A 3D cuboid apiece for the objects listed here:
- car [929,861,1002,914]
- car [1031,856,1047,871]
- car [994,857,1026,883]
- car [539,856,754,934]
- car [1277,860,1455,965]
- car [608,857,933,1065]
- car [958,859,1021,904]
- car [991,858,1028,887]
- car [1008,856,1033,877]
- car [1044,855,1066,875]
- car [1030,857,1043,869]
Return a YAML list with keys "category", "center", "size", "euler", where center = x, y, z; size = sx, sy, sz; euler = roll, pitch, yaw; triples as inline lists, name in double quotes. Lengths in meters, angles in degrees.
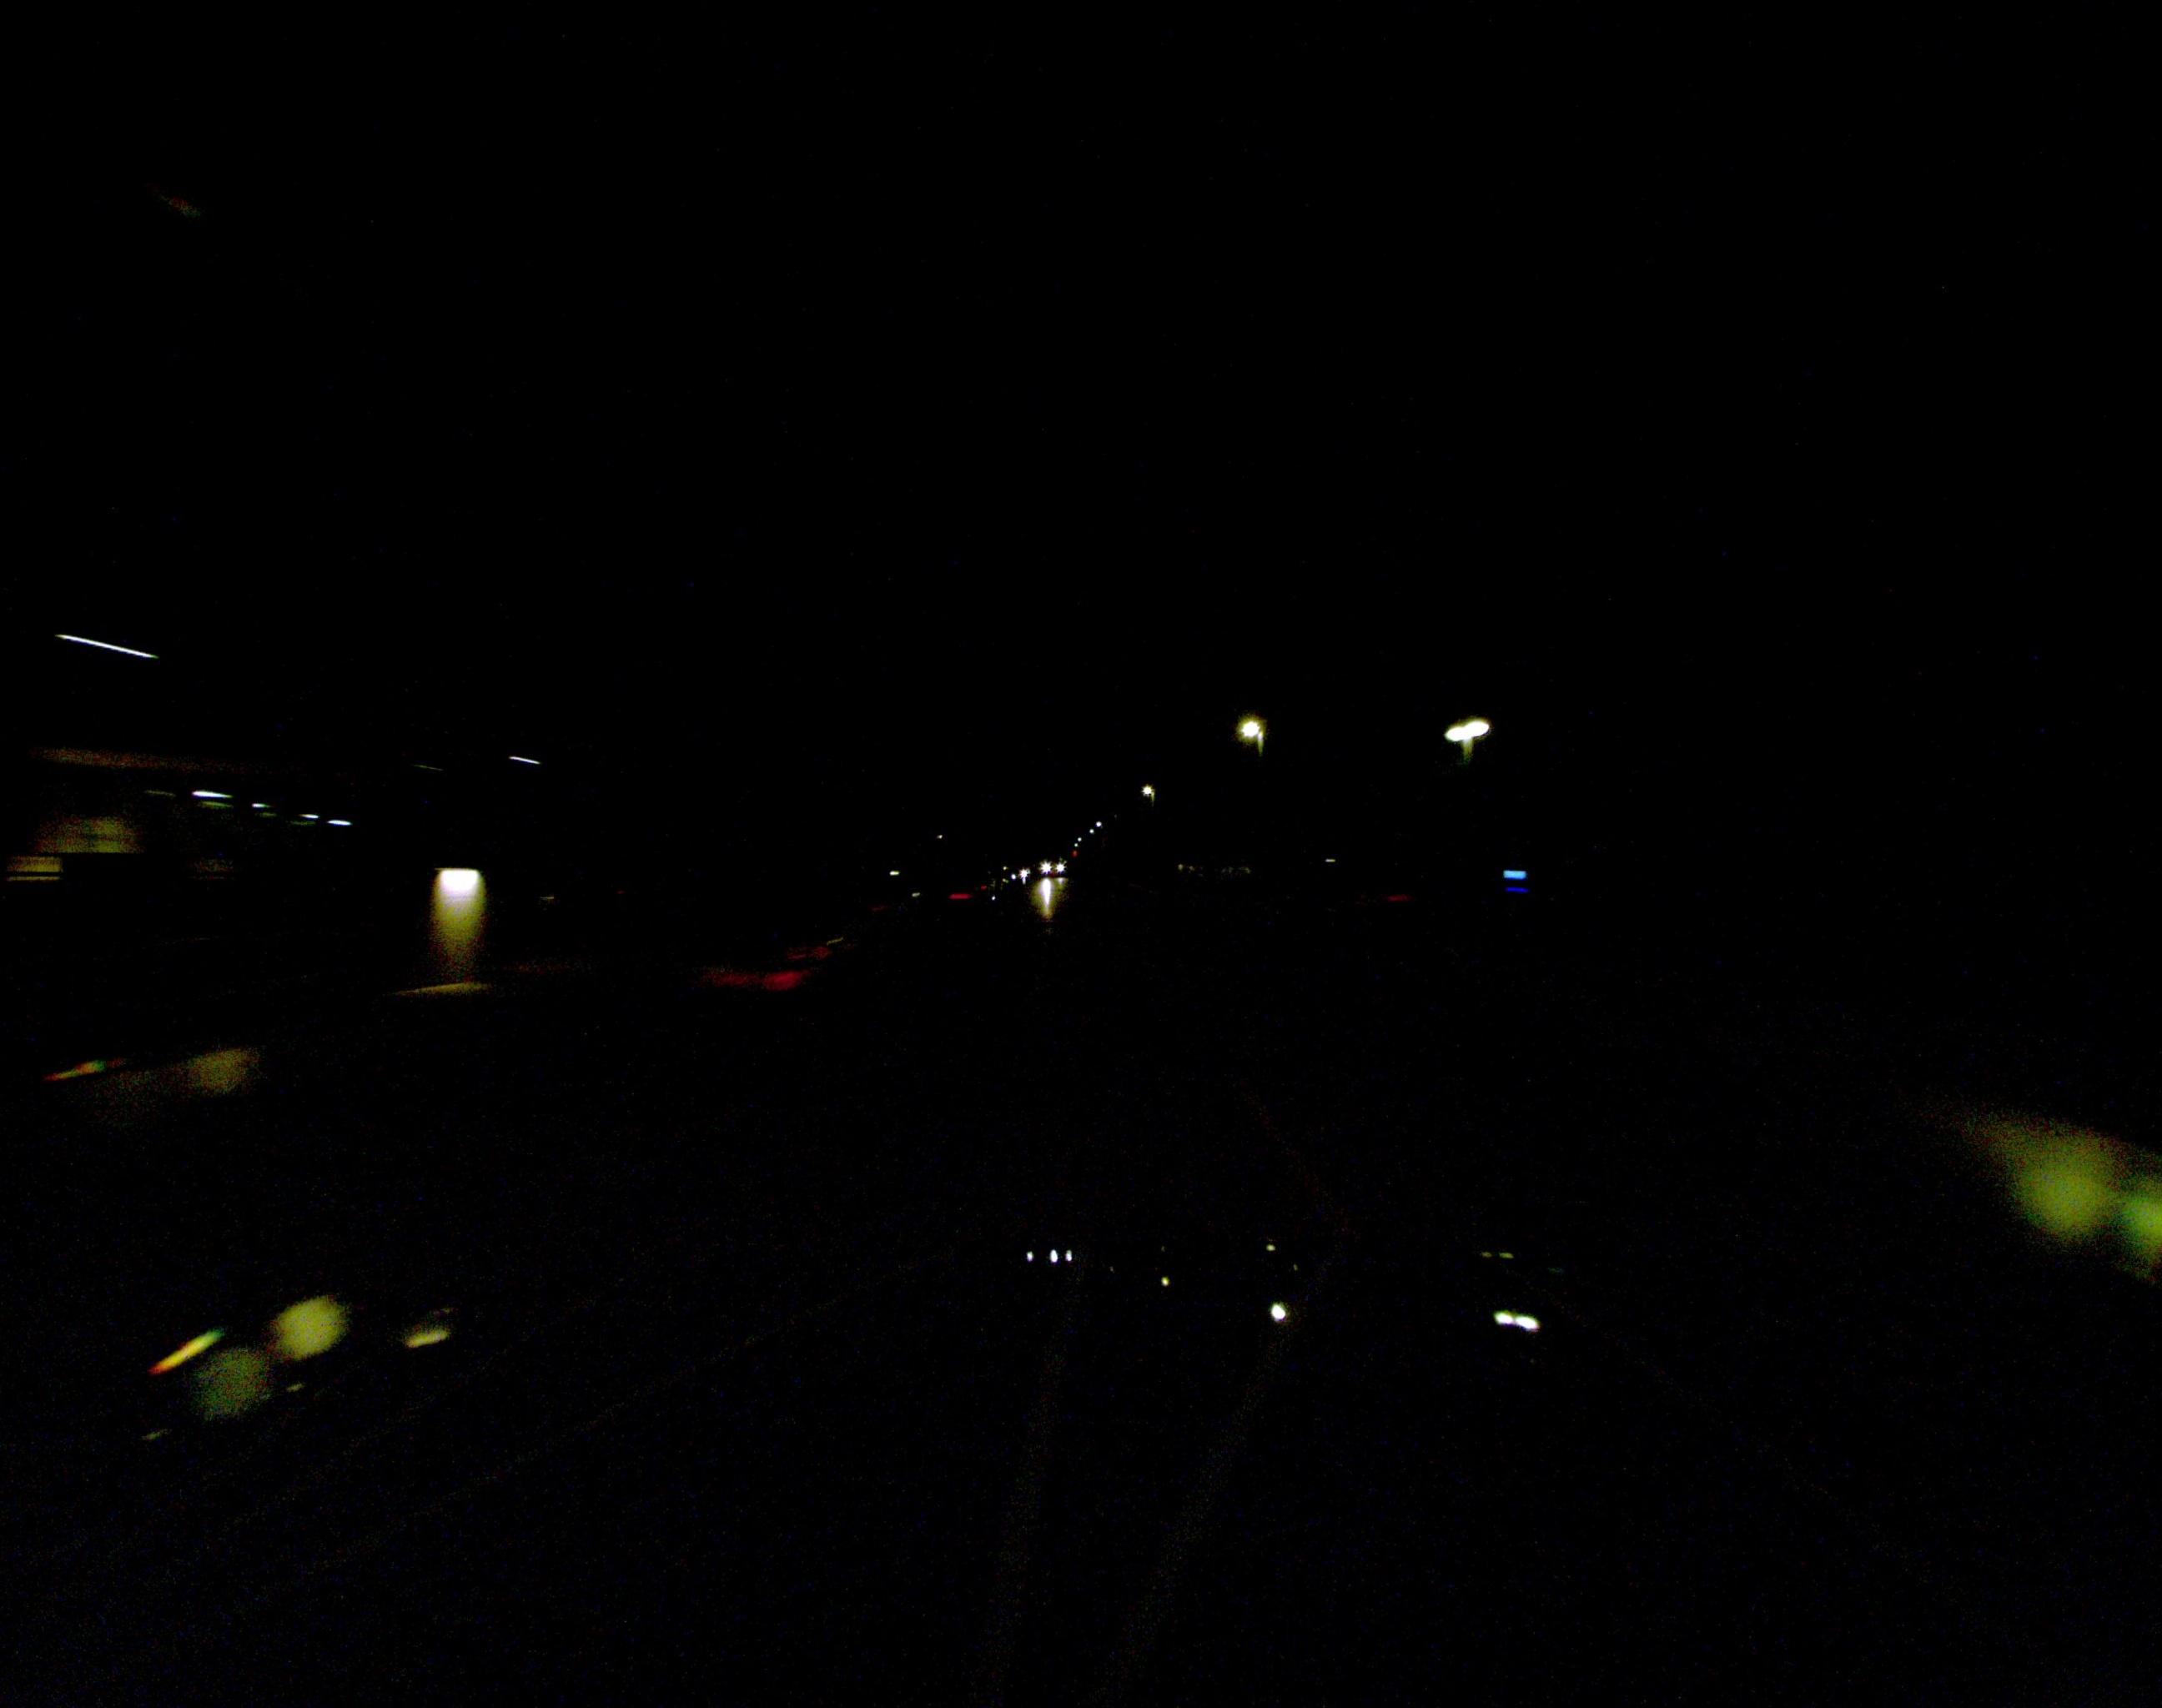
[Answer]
- category: "car"
  center: [-3.494, 0.960, 23.686]
  size: [1.785, 1.429, 4.288]
  euler: [-1, 0, -3]
- category: "car"
  center: [-4.408, 0.977, 79.506]
  size: [1.656, 1.465, 3.516]
  euler: [-1, 0, -3]
- category: "car"
  center: [-4.165, 0.921, 45.244]
  size: [1.643, 1.458, 3.775]
  euler: [-2, 0, -2]
- category: "car"
  center: [-9.808, 0.850, 17.344]
  size: [4.076, 1.576, 1.703]
  euler: [0, 1, -32]
- category: "car"
  center: [4.925, 0.922, 13.695]
  size: [1.696, 1.515, 3.689]
  euler: [-1, 1, -2]
- category: "car"
  center: [-2.974, 0.889, 8.423]
  size: [1.791, 1.632, 4.379]
  euler: [2, 0, -1]
- category: "car"
  center: [-3.334, 0.960, 28.380]
  size: [1.681, 1.439, 4.611]
  euler: [-1, 0, 1]
- category: "car"
  center: [-3.746, 0.926, 40.289]
  size: [1.767, 1.407, 4.438]
  euler: [-1, 0, -3]
- category: "car"
  center: [-4.404, 0.879, 55.658]
  size: [1.681, 1.439, 3.998]
  euler: [0, 0, -4]
- category: "car"
  center: [-2.059, 0.805, 59.177]
  size: [1.628, 1.496, 3.549]
  euler: [-1, 0, -3]
- category: "car"
  center: [-5.916, 1.202, 102.134]
  size: [1.702, 1.447, 3.712]
  euler: [-1, 0, -3]
